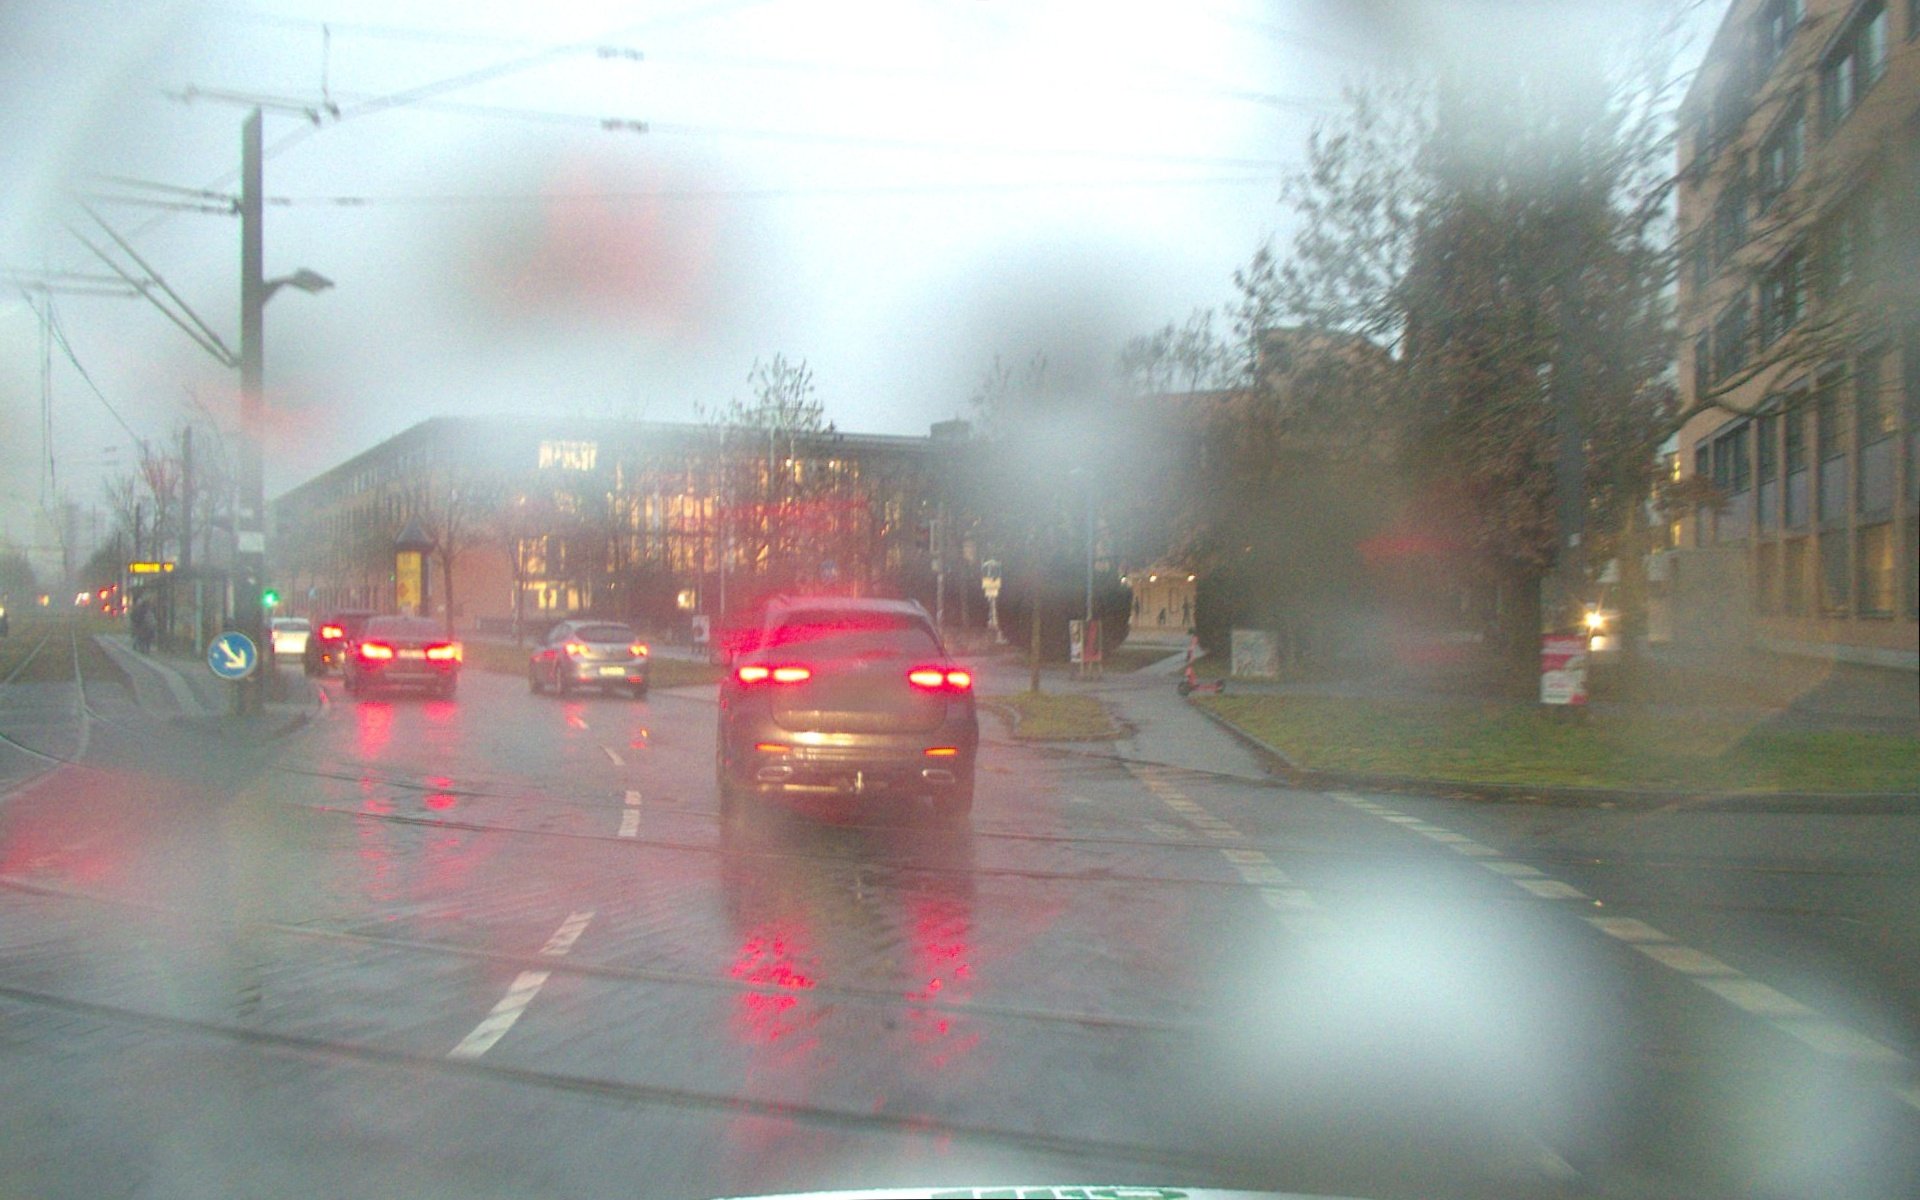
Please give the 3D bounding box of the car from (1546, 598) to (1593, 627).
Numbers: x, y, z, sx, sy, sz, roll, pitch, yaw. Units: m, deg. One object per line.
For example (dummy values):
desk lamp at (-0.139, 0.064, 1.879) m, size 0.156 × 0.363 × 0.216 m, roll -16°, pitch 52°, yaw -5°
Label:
car at (26.475, 0.547, 71.924) m, size 1.632 × 1.201 × 3.710 m, roll -1°, pitch 0°, yaw 16°

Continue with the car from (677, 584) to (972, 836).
car at (-1.113, 0.725, 13.059) m, size 1.953 × 1.644 × 3.994 m, roll -1°, pitch 0°, yaw -6°

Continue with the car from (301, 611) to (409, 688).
car at (-15.113, 1.177, 41.197) m, size 1.971 × 1.796 × 3.962 m, roll -1°, pitch 0°, yaw -29°

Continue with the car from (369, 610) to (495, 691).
car at (-10.253, 0.923, 31.951) m, size 1.967 × 1.422 × 3.971 m, roll -1°, pitch 0°, yaw -23°

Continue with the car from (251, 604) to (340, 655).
car at (-22.687, 0.992, 56.392) m, size 1.977 × 1.646 × 3.950 m, roll -1°, pitch 0°, yaw -35°

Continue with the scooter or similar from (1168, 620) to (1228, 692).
scooter or similar at (4.318, 0.997, 29.980) m, size 0.479 × 1.253 × 1.137 m, roll -1°, pitch 0°, yaw 45°

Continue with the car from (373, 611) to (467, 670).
car at (-16.164, 1.171, 49.429) m, size 1.972 × 1.646 × 3.961 m, roll -1°, pitch 0°, yaw -29°

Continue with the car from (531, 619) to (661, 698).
car at (-7.465, 1.134, 33.648) m, size 1.966 × 1.432 × 3.973 m, roll -1°, pitch 0°, yaw -22°
